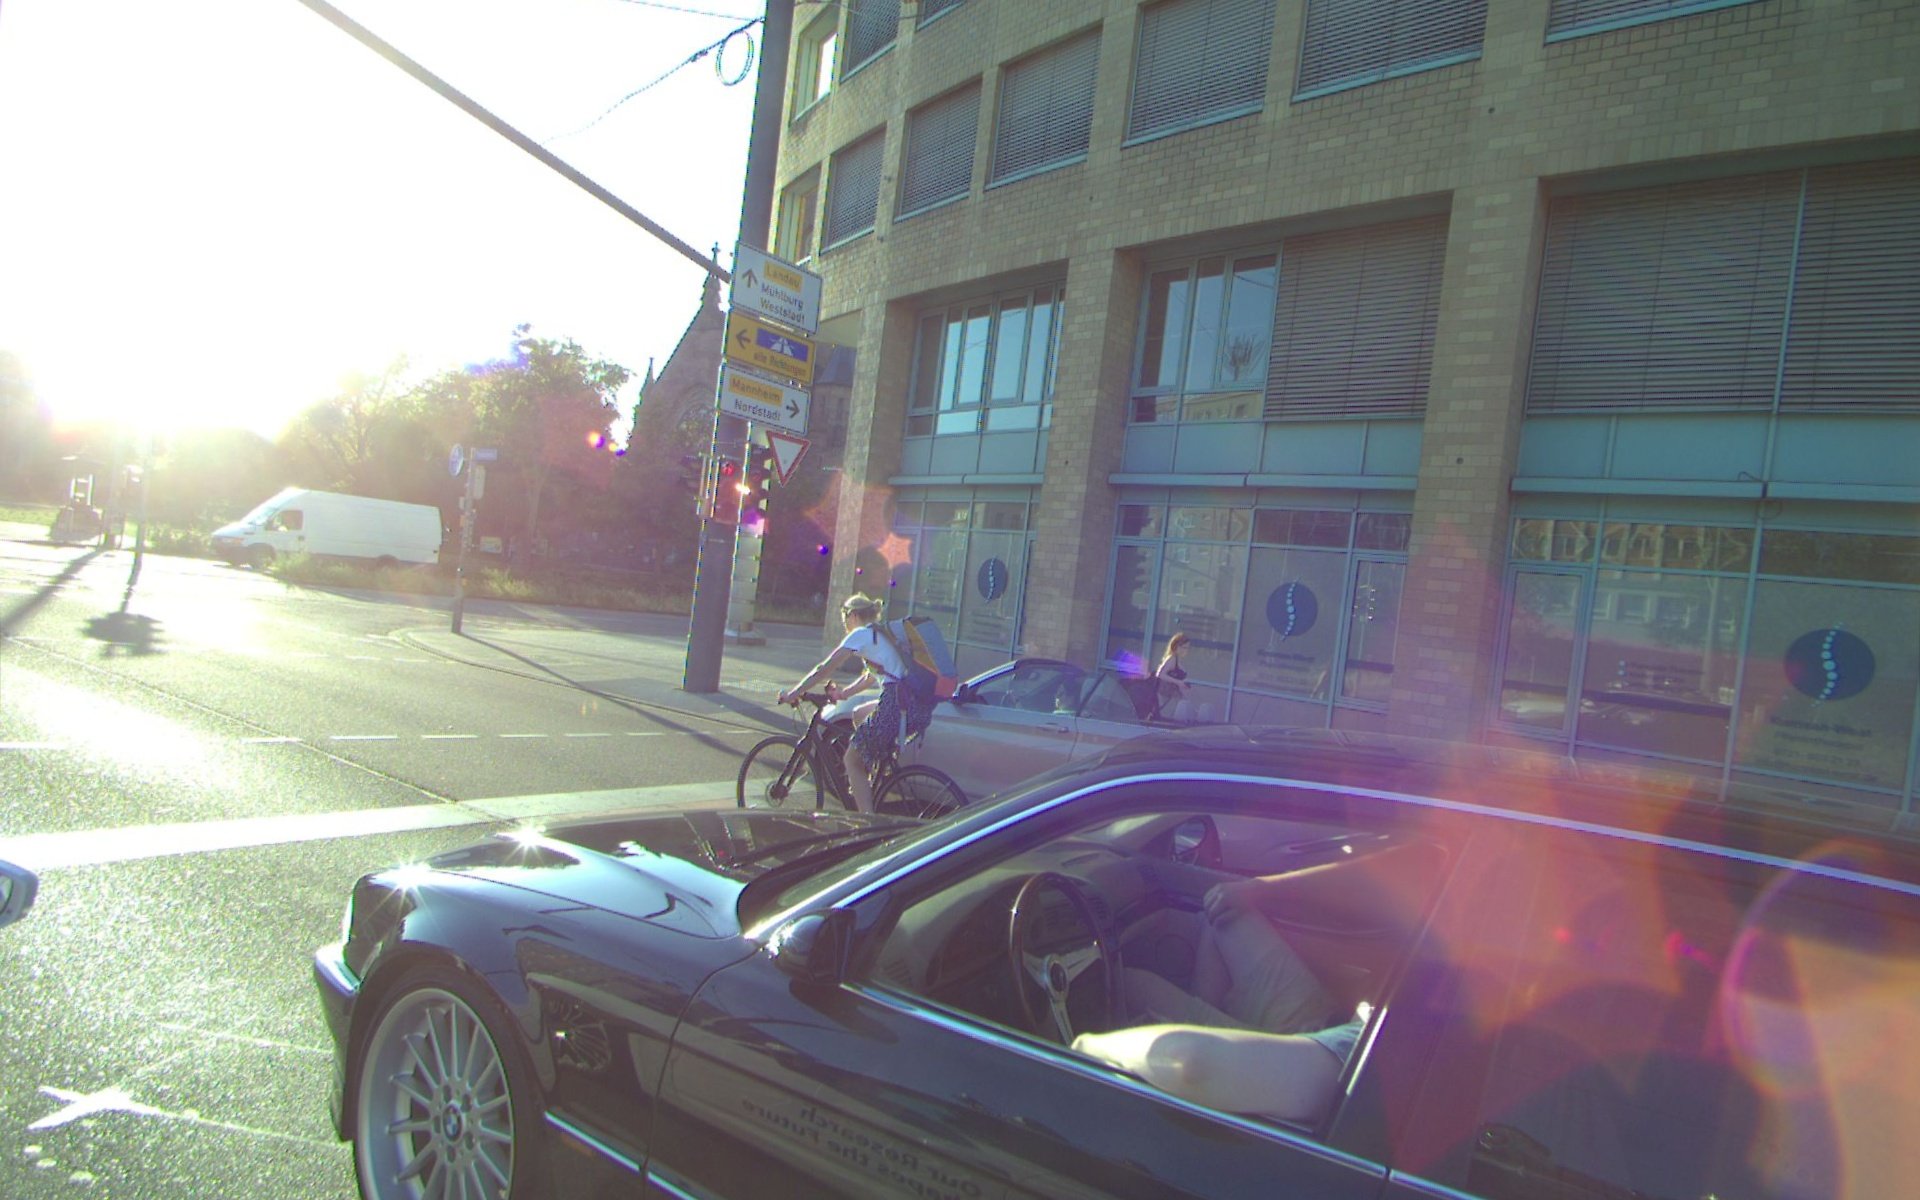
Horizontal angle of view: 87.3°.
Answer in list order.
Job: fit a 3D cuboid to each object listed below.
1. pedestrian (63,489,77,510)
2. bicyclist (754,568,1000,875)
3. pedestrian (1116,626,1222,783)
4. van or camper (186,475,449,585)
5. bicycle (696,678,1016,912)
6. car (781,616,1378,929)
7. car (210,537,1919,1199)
[{"bbox_3d":[-79.744,-9.024,90.129,0.795,1.722,0.790,6,1,-44],"label":"pedestrian"},{"bbox_3d":[-0.464,0.647,5.703,1.020,1.501,0.657,7,-1,29],"label":"bicyclist"},{"bbox_3d":[2.344,1.141,11.254,0.786,1.589,0.678,9,2,29],"label":"pedestrian"},{"bbox_3d":[-21.948,-2.304,34.804,2.556,2.708,7.048,9,1,33],"label":"van or camper"},{"bbox_3d":[-0.628,1.048,5.764,1.745,0.966,0.516,6,-1,29],"label":"bicycle"},{"bbox_3d":[0.843,1.139,7.929,4.195,1.370,1.786,8,0,31],"label":"car"},{"bbox_3d":[0.696,0.884,2.009,4.563,1.370,1.833,8,0,31],"label":"car"}]
